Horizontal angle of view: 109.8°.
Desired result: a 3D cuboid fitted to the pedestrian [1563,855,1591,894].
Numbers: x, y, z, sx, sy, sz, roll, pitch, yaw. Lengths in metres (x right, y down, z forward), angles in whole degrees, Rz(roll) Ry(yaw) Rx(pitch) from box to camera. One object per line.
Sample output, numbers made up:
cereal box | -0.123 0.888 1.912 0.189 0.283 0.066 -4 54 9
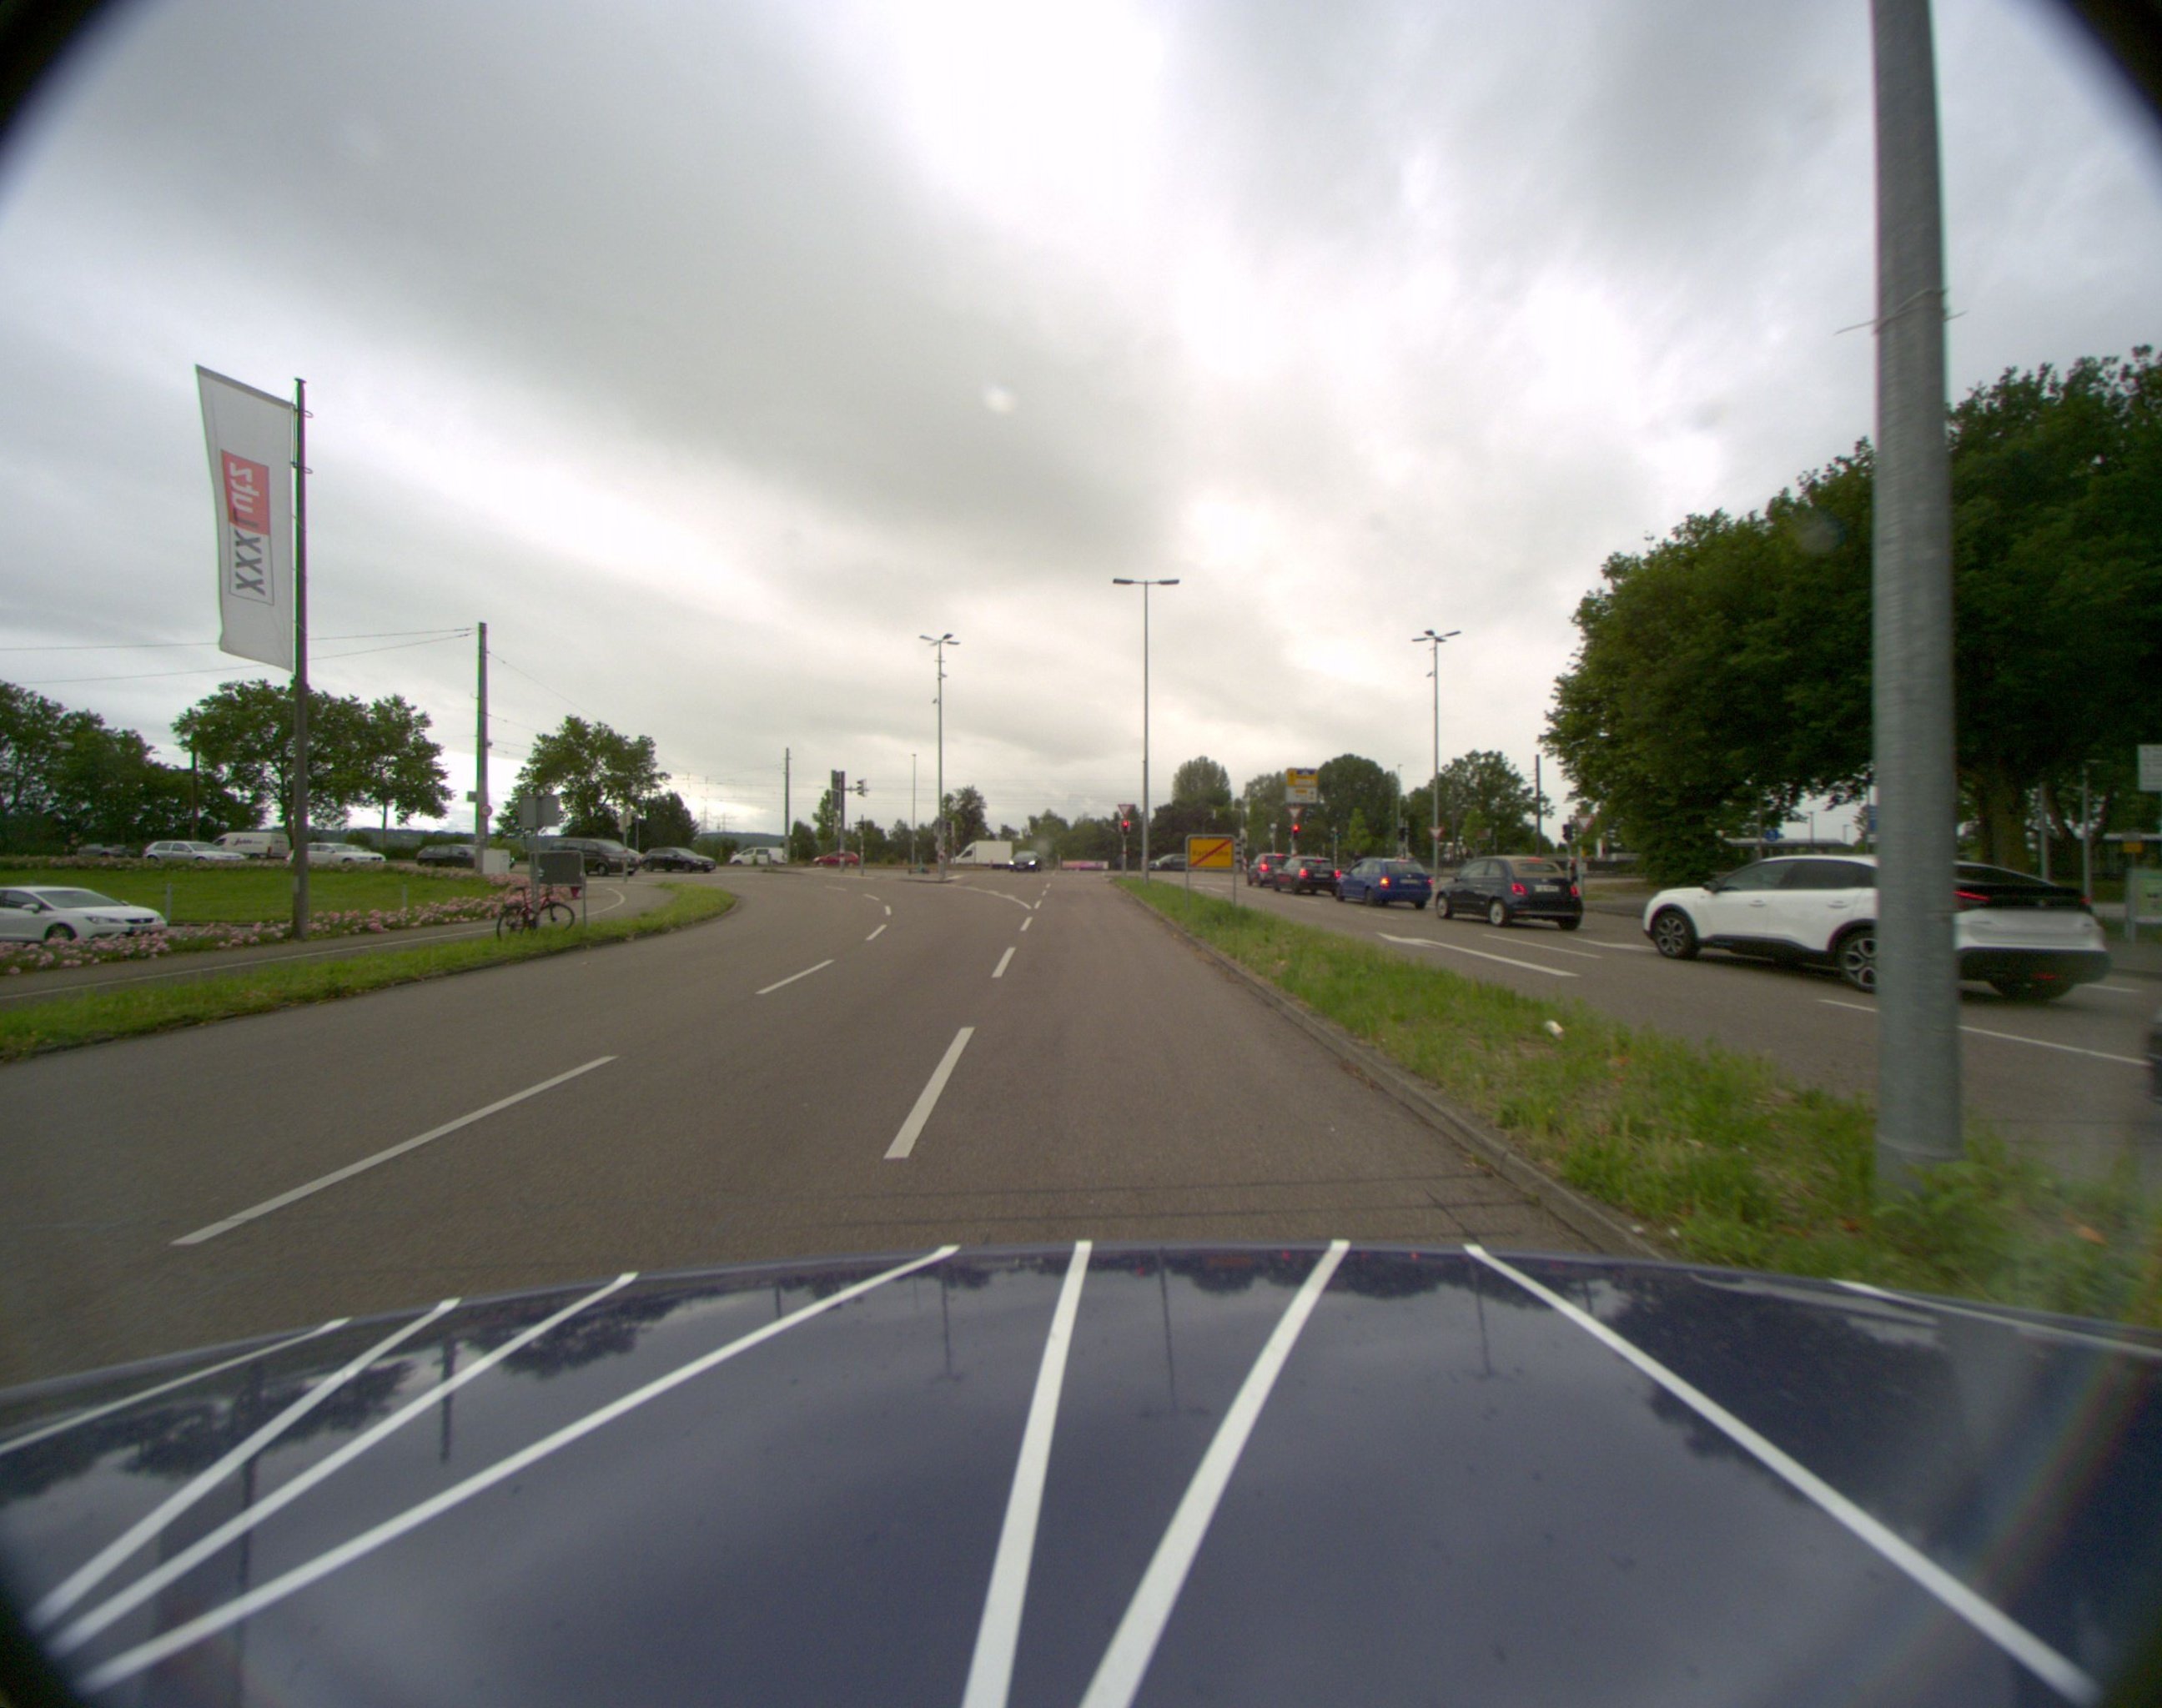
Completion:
pedestrian | 21.456 0.889 32.861 0.635 1.633 0.809 0 2 -3

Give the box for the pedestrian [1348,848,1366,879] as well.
pedestrian | 16.139 0.548 44.426 0.664 1.756 0.686 3 4 -3

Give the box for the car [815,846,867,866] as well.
car | -21.774 0.209 69.062 4.250 1.641 1.783 1 -2 -12

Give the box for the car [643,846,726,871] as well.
car | -23.719 0.271 45.503 4.200 1.455 1.839 0 1 12

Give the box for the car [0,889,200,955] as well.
car | -23.964 1.572 17.907 4.117 1.437 1.876 0 -2 -2

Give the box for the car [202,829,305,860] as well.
car | -74.039 -0.826 68.059 5.898 2.609 2.664 1 -2 -6

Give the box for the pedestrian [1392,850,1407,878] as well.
pedestrian | 19.619 0.634 46.829 0.675 1.702 0.766 0 1 3

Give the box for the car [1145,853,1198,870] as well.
car | 7.989 0.688 66.929 4.376 1.400 1.675 0 -2 -21

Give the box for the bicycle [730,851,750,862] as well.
bicycle | -33.430 0.219 74.516 1.710 1.040 0.548 1 2 -14

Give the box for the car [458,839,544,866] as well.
car | -37.896 -0.102 49.738 3.997 1.718 1.999 0 1 -2

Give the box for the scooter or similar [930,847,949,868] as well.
scooter or similar | -8.644 0.227 46.285 1.016 1.249 0.465 1 2 13

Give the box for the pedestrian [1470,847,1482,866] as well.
pedestrian | 35.328 0.223 67.935 0.586 1.731 0.788 -1 -2 2

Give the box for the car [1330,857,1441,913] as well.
car | 9.040 0.856 22.953 1.607 1.436 4.142 2 1 -1

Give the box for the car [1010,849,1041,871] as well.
car | -3.845 0.410 53.493 1.999 1.383 4.341 2 1 -2

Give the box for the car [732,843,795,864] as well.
car | -30.034 -0.017 71.969 5.122 1.868 2.099 1 -2 -11

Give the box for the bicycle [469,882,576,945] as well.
bicycle | -10.596 1.103 14.496 0.664 1.042 1.692 0 1 6

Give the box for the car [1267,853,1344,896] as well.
car | 8.572 0.727 29.396 1.666 1.494 4.064 2 0 -1

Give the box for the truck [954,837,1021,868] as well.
truck | -9.466 -0.102 76.485 6.545 2.905 2.827 1 -2 -10

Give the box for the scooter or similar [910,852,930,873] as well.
scooter or similar | -9.709 0.521 45.850 1.113 1.249 0.321 1 3 13

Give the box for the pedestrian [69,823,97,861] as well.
pedestrian | -47.351 -0.553 36.059 0.636 1.771 0.545 0 -2 -32

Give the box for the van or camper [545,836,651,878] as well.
van or camper | -25.883 0.118 40.731 4.743 2.002 2.126 2 2 15

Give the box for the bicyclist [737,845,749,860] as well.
bicyclist | -33.169 -0.148 74.502 0.968 1.445 0.691 1 2 -14

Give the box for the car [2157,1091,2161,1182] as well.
car | 6.110 0.850 1.377 1.888 1.428 4.429 2 0 -4

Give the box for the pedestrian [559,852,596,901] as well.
pedestrian | -16.812 0.734 25.387 0.781 1.588 0.718 2 3 32

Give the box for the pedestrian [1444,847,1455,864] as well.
pedestrian | 32.584 0.135 67.163 0.632 1.550 0.711 -1 -2 1

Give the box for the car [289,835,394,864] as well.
car | -40.957 -0.228 42.141 4.043 1.529 1.734 0 -2 -1

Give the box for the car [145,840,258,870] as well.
car | -48.697 0.083 42.117 4.073 1.592 1.747 0 -2 -3

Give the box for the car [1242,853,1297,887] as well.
car | 8.613 0.696 34.925 1.607 1.494 3.209 0 0 -2

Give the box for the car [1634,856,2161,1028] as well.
car | 9.229 0.832 9.228 1.936 1.510 4.181 1 1 0

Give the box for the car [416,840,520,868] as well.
car | -33.714 0.020 41.856 4.316 1.455 1.970 1 0 5

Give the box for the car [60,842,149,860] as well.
car | -80.299 -0.243 62.540 4.343 1.382 1.876 1 -2 -8

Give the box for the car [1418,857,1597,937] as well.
car | 9.190 0.848 16.791 1.607 1.489 4.036 2 0 -1
